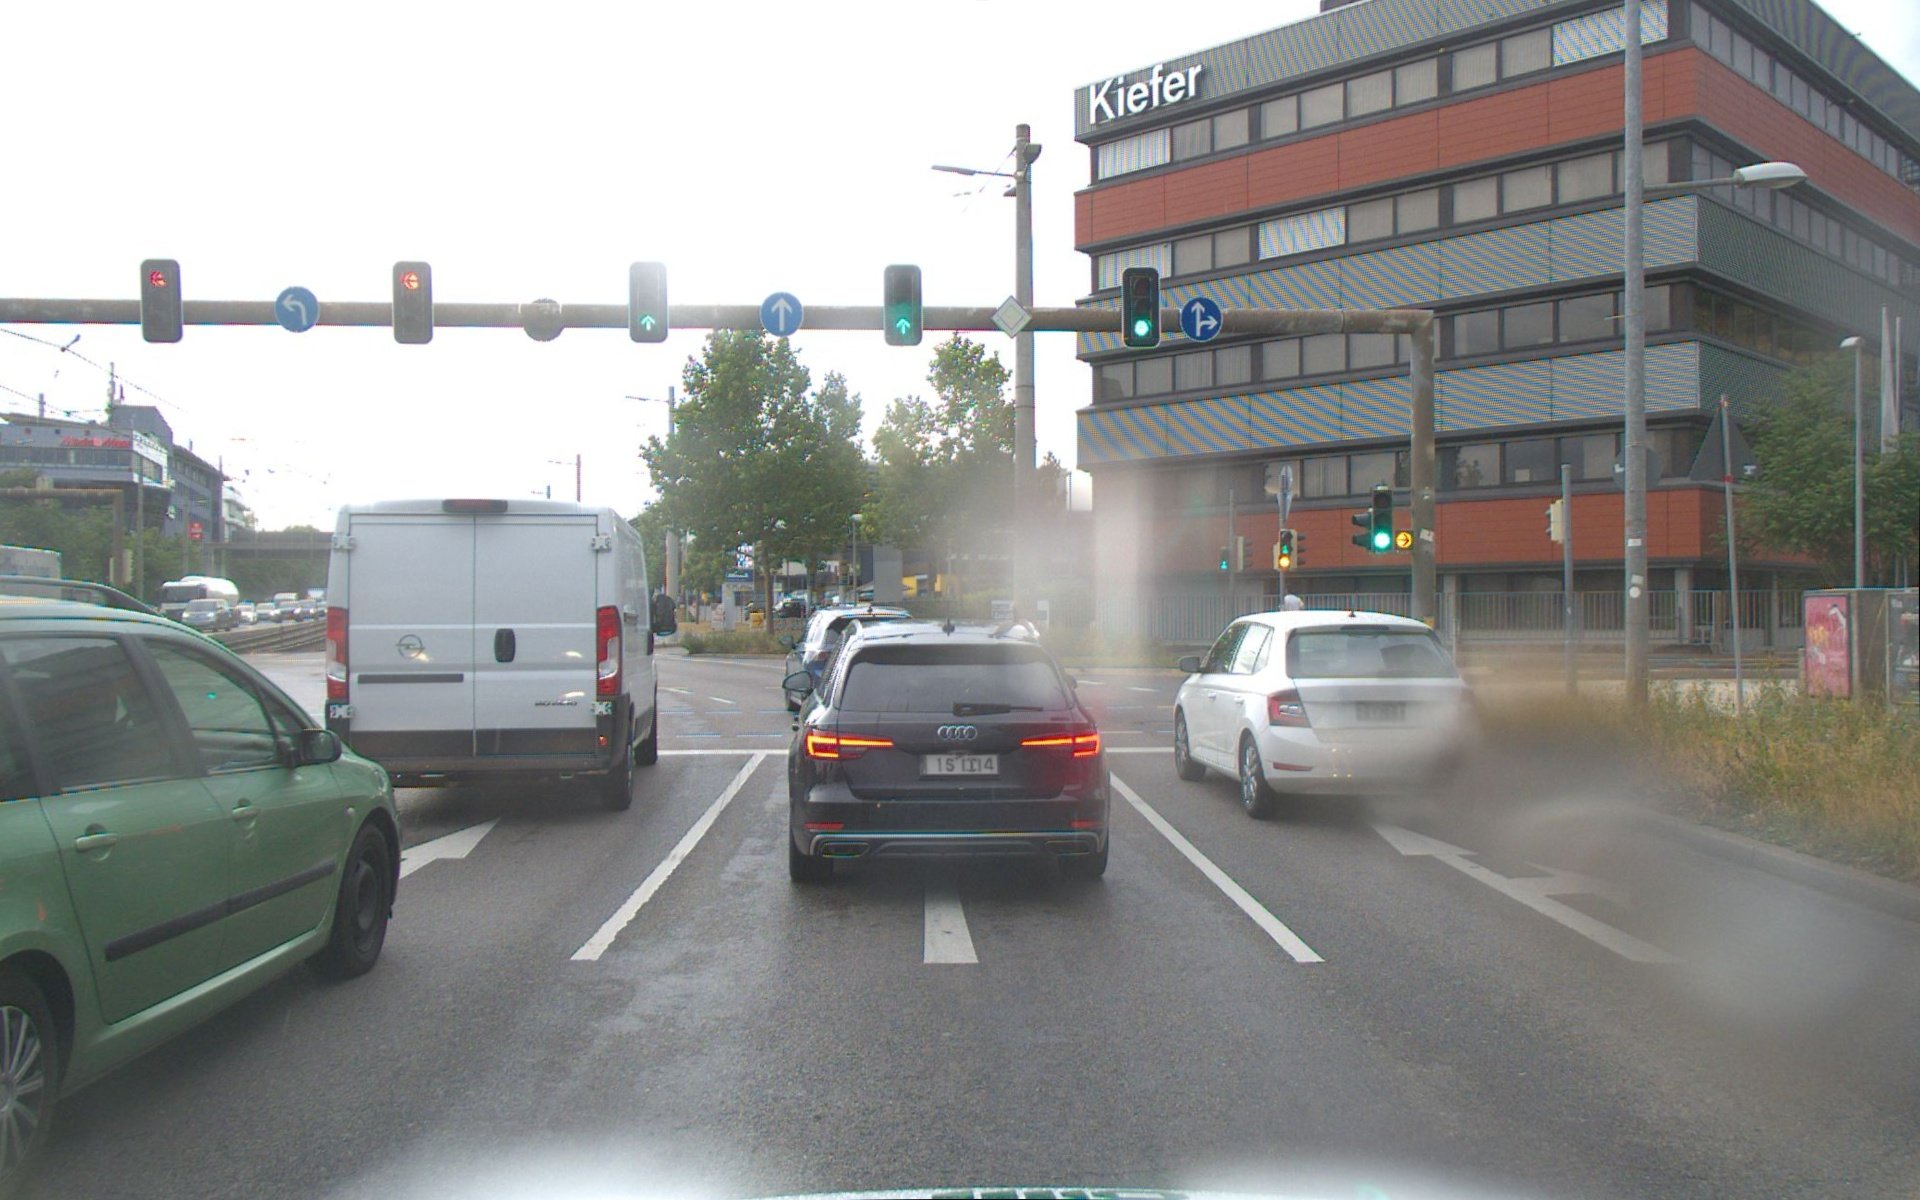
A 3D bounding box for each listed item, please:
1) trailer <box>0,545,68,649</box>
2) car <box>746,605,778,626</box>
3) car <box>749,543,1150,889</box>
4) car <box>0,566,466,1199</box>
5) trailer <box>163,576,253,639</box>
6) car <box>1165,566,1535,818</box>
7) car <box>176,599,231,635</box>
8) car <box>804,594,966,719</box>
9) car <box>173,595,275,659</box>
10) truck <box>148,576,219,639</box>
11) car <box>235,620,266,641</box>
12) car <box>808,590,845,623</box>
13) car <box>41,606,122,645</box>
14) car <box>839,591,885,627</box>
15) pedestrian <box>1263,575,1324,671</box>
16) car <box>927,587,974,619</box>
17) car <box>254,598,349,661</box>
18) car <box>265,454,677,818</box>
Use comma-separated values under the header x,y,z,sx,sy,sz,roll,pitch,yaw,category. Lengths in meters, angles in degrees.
x,y,z,sx,sy,sz,roll,pitch,yaw,category
-40.926,-0.048,69.839,2.605,4.197,12.698,0,-1,-14,trailer
-15.573,1.204,130.140,1.764,1.619,3.978,-1,0,-19,car
-0.075,0.611,10.119,1.953,1.666,3.999,-1,-1,-1,car
-3.054,0.674,5.274,1.660,1.494,4.402,2,-1,-1,car
-50.684,0.568,111.789,2.675,3.922,11.202,-1,-1,-10,trailer
2.890,0.665,13.152,1.792,1.685,3.997,1,-1,-3,car
-44.544,0.963,97.479,1.960,1.869,4.891,3,1,-14,car
-1.083,0.721,21.942,1.858,1.491,3.903,0,-1,-7,car
-25.043,0.898,56.450,1.738,2.049,4.344,2,0,-4,car
-49.695,0.504,105.995,2.696,3.872,5.398,-1,-1,-10,truck
-54.551,2.319,127.245,2.129,1.532,4.272,-1,0,-22,car
-8.732,0.449,107.810,1.652,2.049,3.525,2,-1,-17,car
-37.739,1.079,71.192,1.870,1.582,4.551,2,-1,-13,car
-5.866,0.546,98.976,1.961,2.068,3.983,-1,0,-15,car
7.746,0.510,38.435,1.120,2.163,1.222,-1,1,-1,pedestrian
-0.661,0.210,111.305,1.844,2.049,3.749,2,-2,-21,car
-22.647,0.978,57.061,1.738,2.049,4.344,2,0,-4,car
-3.628,0.301,13.395,2.399,2.334,4.895,2,-1,-8,car
